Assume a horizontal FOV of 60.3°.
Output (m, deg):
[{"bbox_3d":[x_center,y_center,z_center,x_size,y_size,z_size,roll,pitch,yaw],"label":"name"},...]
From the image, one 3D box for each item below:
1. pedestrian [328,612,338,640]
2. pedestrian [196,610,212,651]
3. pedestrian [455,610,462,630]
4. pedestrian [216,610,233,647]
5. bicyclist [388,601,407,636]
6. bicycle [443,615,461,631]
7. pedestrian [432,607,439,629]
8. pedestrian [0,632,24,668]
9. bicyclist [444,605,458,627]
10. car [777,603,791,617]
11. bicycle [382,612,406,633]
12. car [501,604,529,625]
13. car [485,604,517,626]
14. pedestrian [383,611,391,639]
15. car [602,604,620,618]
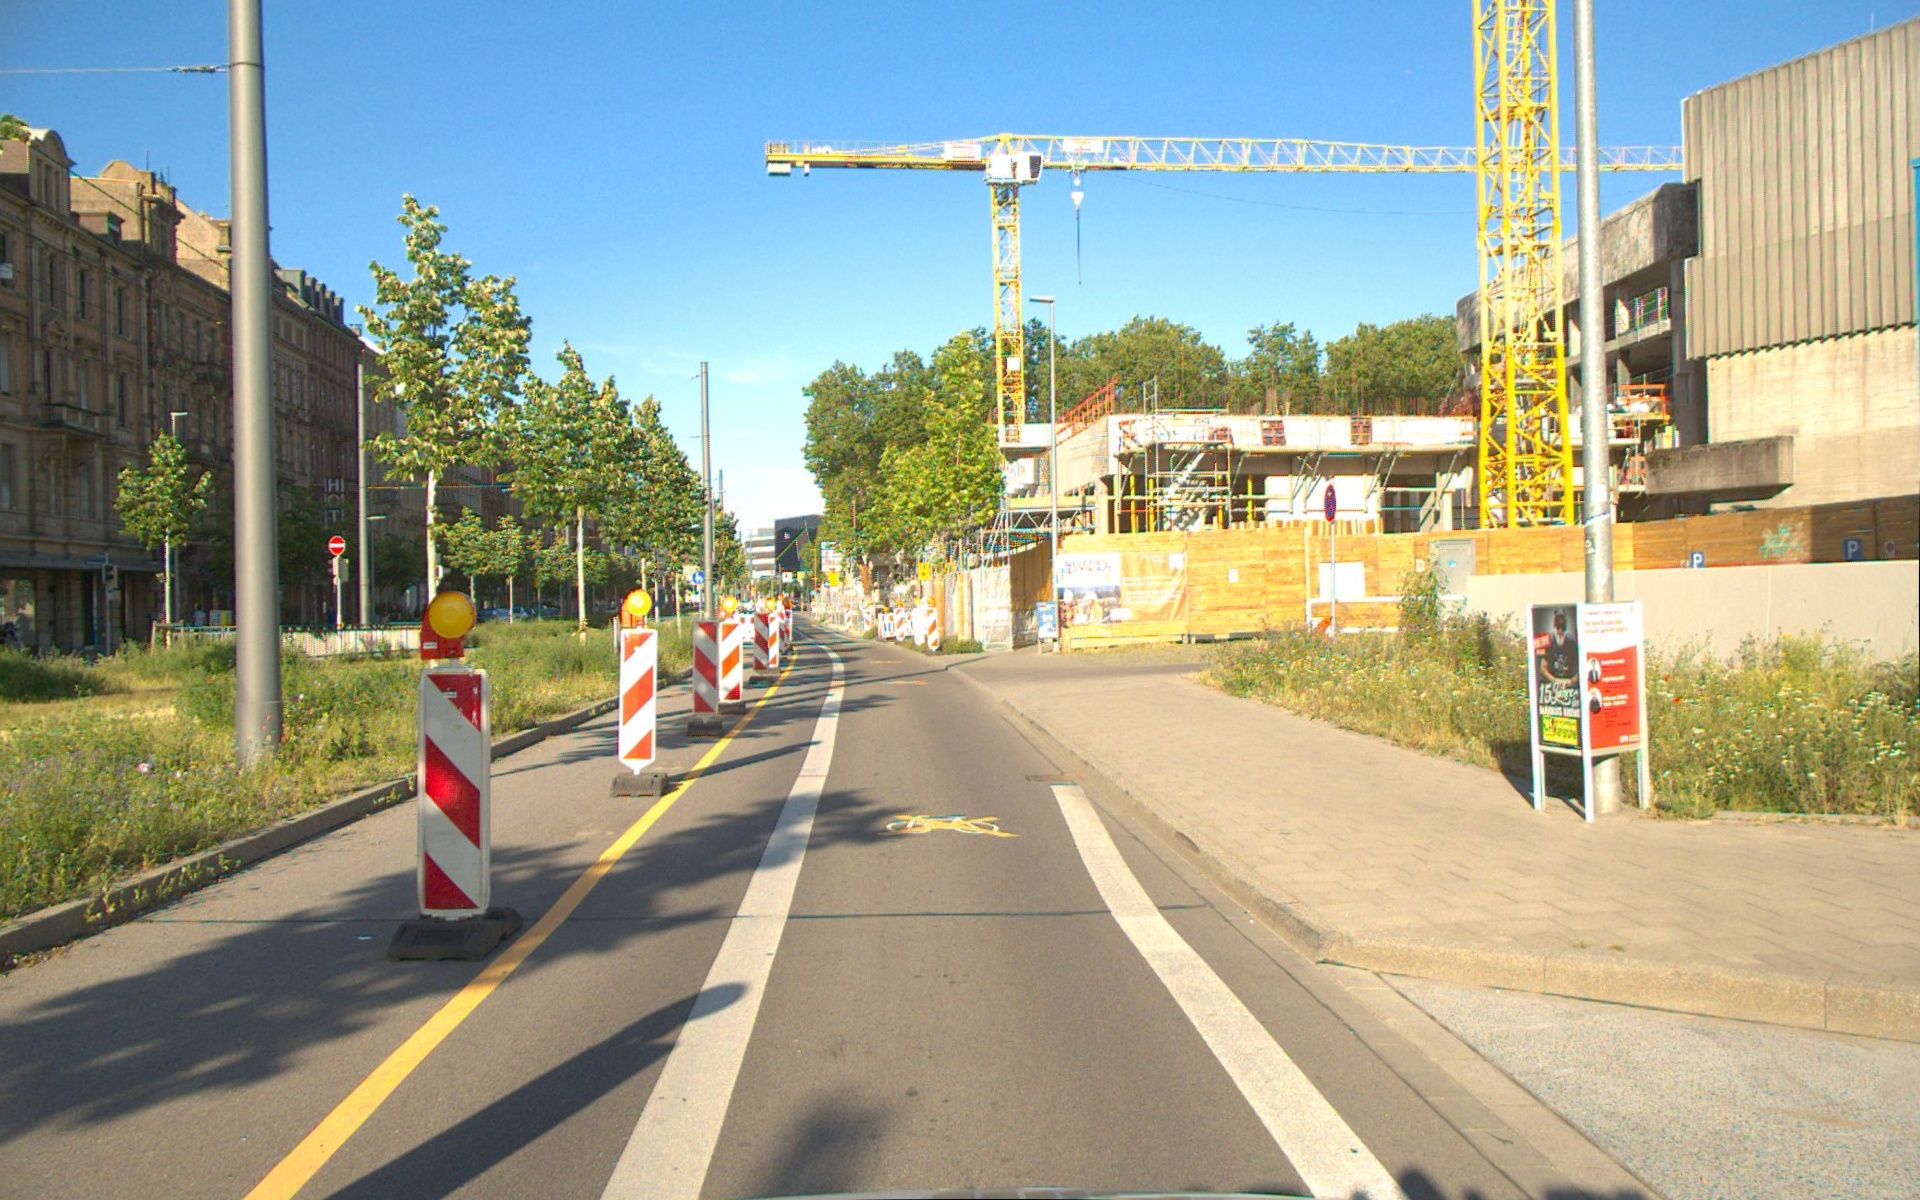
[{"bbox_3d":[-35.675,1.480,94.085,0.396,1.612,0.425,1,-1,-7],"label":"pedestrian"},{"bbox_3d":[-33.241,1.332,72.707,0.498,1.795,0.405,1,-1,-7],"label":"pedestrian"},{"bbox_3d":[-41.327,1.627,136.281,0.453,1.612,0.433,1,-1,-14],"label":"pedestrian"},{"bbox_3d":[-32.001,1.246,71.961,0.477,1.612,0.532,1,-1,-7],"label":"pedestrian"},{"bbox_3d":[-27.684,0.890,81.341,0.682,1.686,0.881,-1,0,-6],"label":"bicyclist"},{"bbox_3d":[-29.749,1.352,96.858,0.625,0.872,2.028,-1,0,-6],"label":"bicycle"},{"bbox_3d":[-38.207,1.326,120.417,0.397,1.559,0.434,1,-1,-7],"label":"pedestrian"},{"bbox_3d":[-32.758,1.716,56.761,0.776,1.229,0.928,-1,0,-6],"label":"pedestrian"},{"bbox_3d":[-29.731,0.906,96.594,0.625,1.261,0.737,-1,0,-6],"label":"bicyclist"},{"bbox_3d":[-25.638,1.440,240.803,1.847,1.875,3.662,-1,0,-7],"label":"car"},{"bbox_3d":[-27.572,1.113,80.610,0.681,0.995,1.825,-1,0,-6],"label":"bicycle"},{"bbox_3d":[-35.641,1.129,132.525,1.537,1.590,4.706,-1,0,-7],"label":"car"},{"bbox_3d":[-34.427,1.114,124.144,1.537,1.590,4.707,-1,0,-7],"label":"car"},{"bbox_3d":[-36.609,1.593,105.648,0.360,1.795,0.405,1,-1,-7],"label":"pedestrian"},{"bbox_3d":[-37.479,1.142,177.681,1.564,1.509,3.619,0,0,-6],"label":"car"}]
